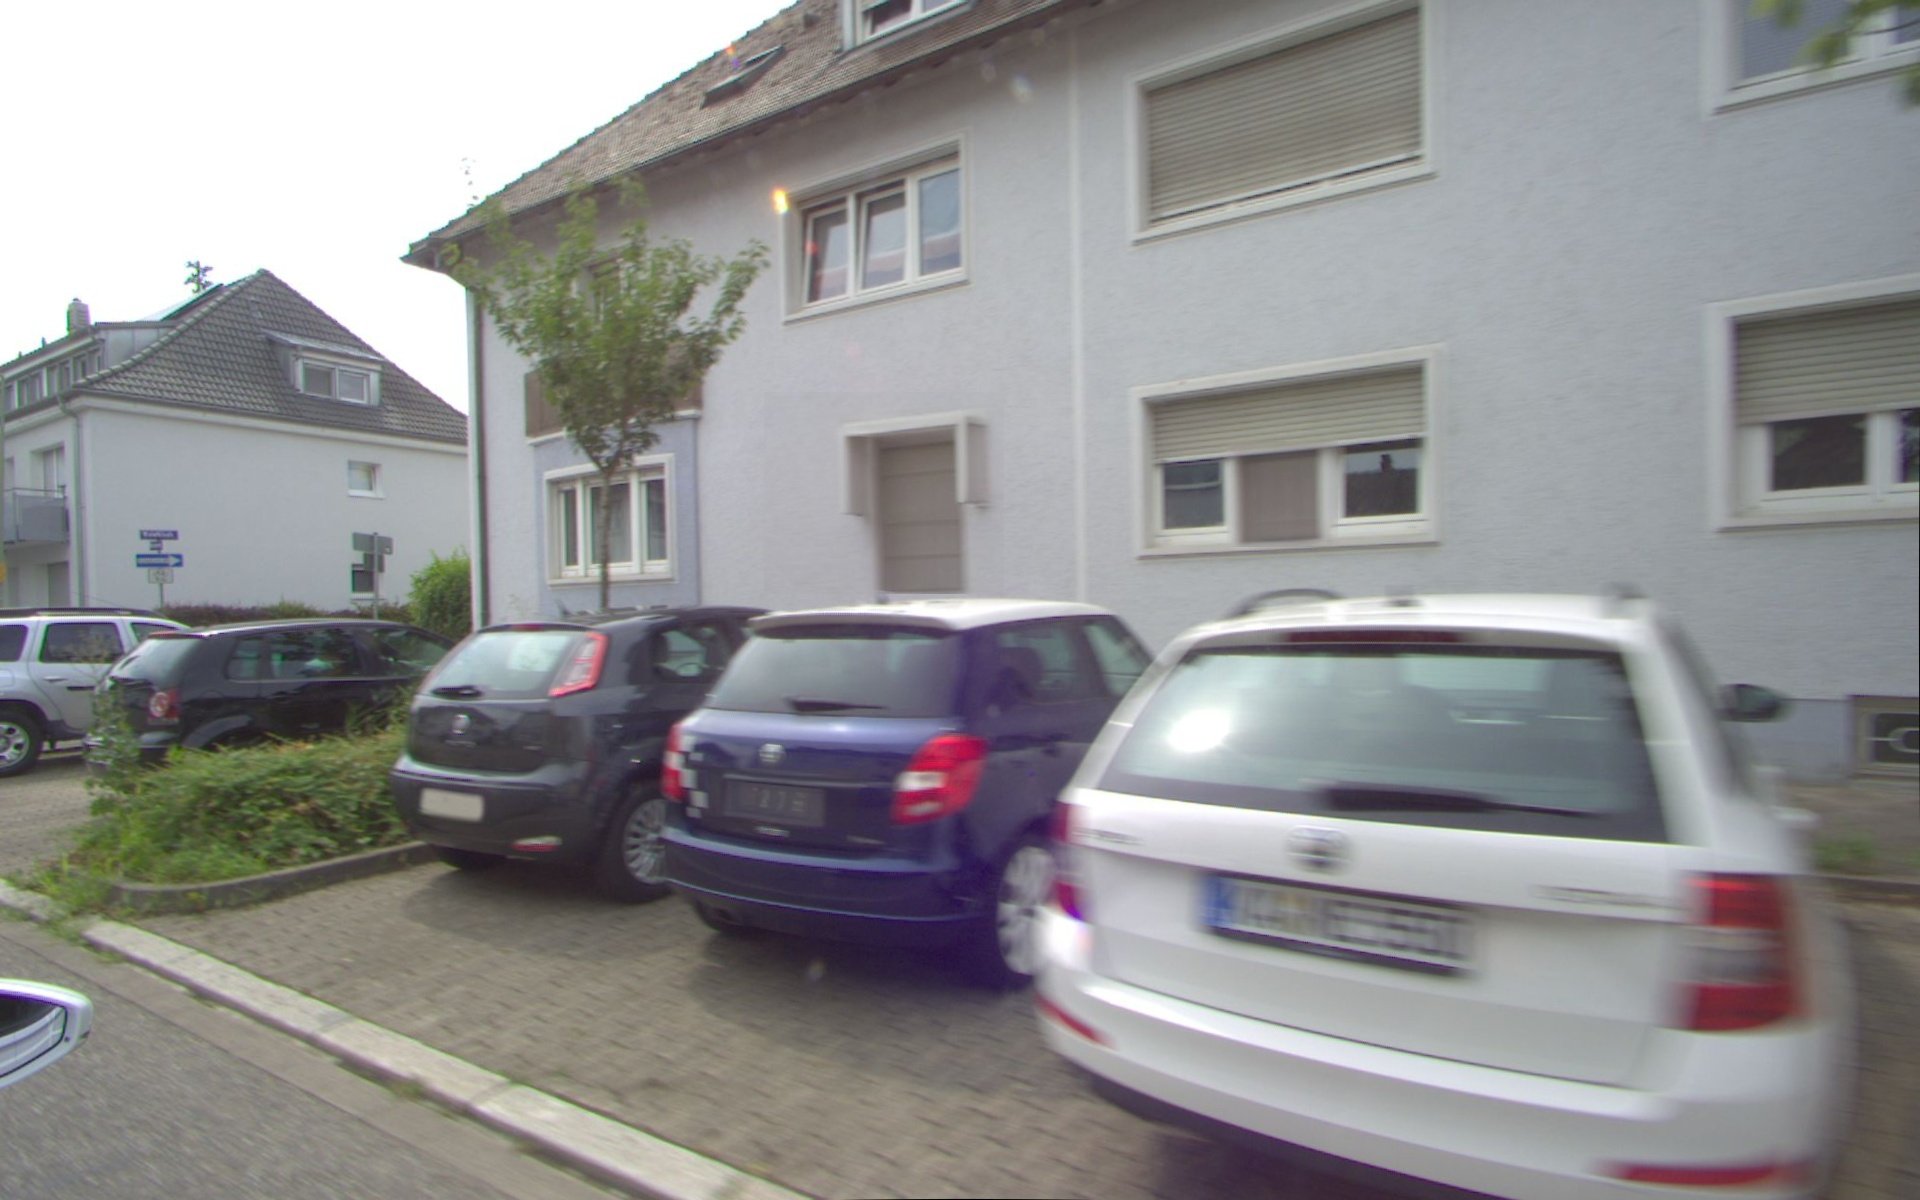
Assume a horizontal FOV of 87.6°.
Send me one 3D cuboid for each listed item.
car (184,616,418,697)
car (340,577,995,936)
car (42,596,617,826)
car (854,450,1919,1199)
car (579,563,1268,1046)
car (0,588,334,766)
[{"bbox_3d":[-13.827,1.124,21.222,1.640,1.462,3.793,-1,0,33],"label":"car"},{"bbox_3d":[-1.520,0.681,6.596,1.688,1.528,3.976,-1,2,33],"label":"car"},{"bbox_3d":[-5.289,0.769,8.967,1.688,1.441,3.976,-1,2,33],"label":"car"},{"bbox_3d":[1.818,0.576,3.723,1.866,1.686,4.601,-1,2,33],"label":"car"},{"bbox_3d":[0.233,0.619,5.352,1.688,1.528,3.976,-1,2,33],"label":"car"},{"bbox_3d":[-9.648,0.775,11.316,1.840,1.655,3.915,-1,2,31],"label":"car"}]
